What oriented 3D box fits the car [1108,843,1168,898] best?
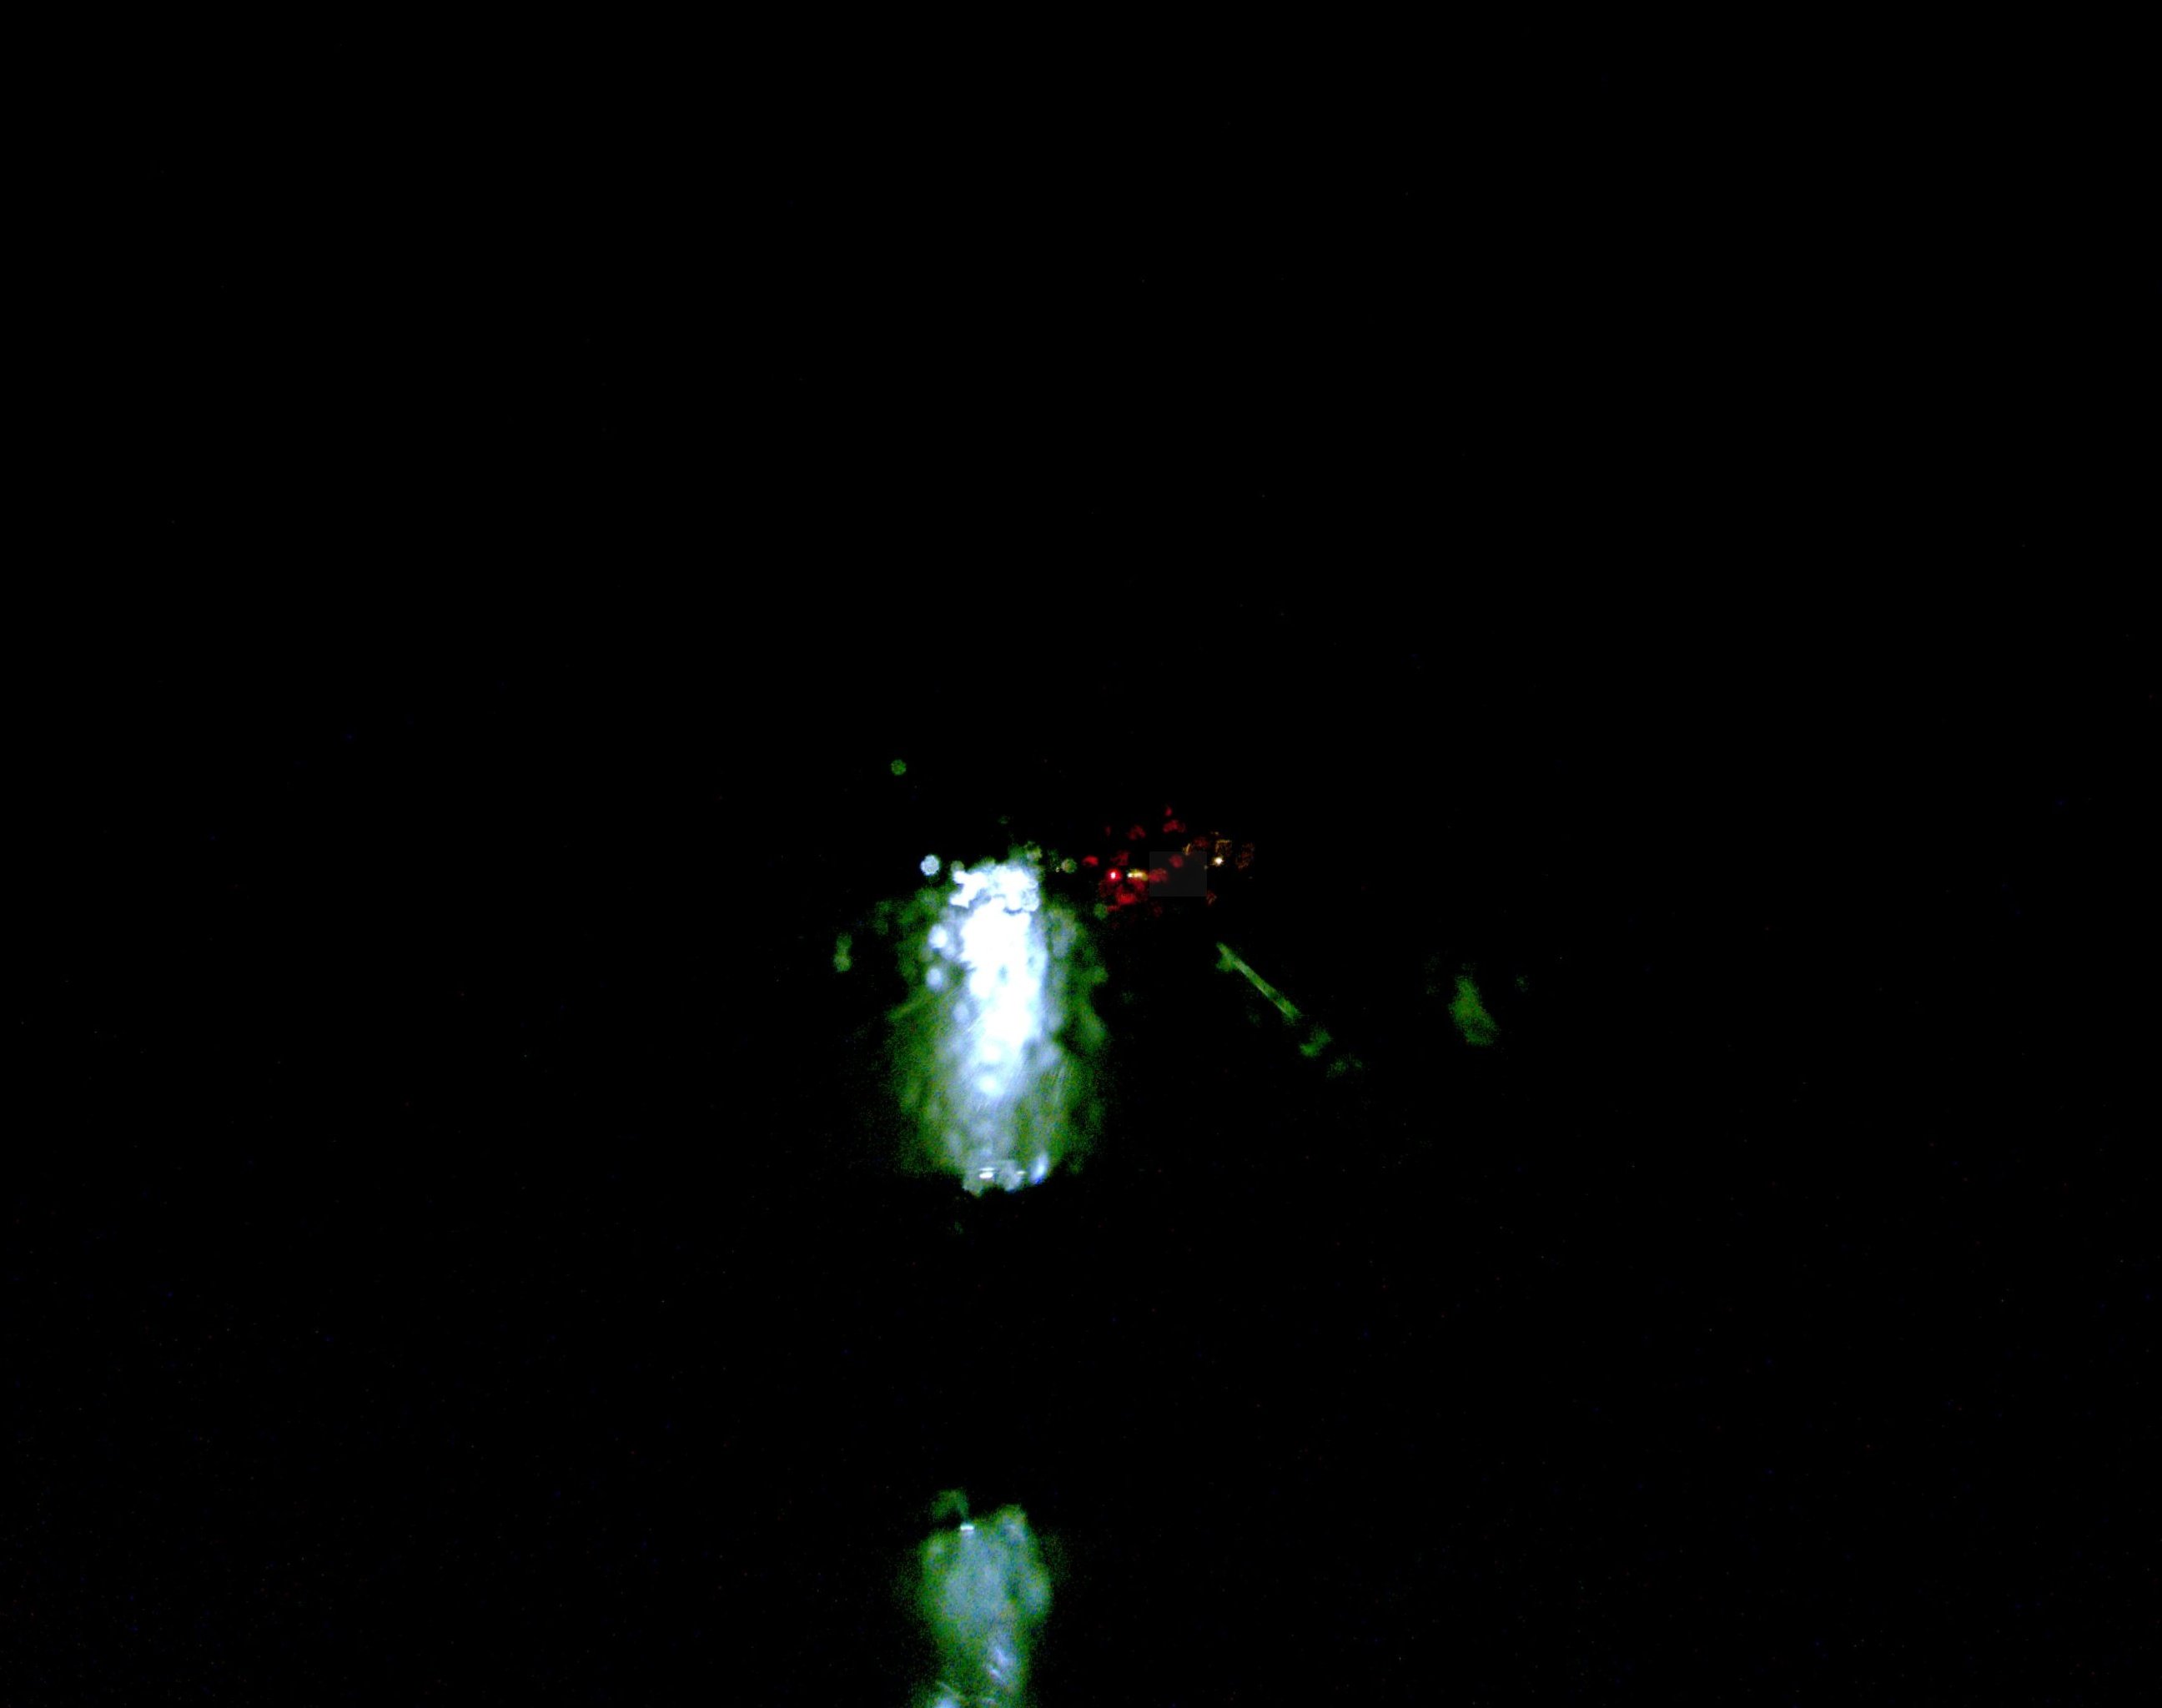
[{"bbox_3d":[2.080,0.559,30.525,1.986,1.807,3.919,-4,0,2],"label":"car"}]

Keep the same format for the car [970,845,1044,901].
[{"bbox_3d":[-2.392,0.579,27.312,1.834,1.720,3.964,-2,0,4],"label":"car"}]
